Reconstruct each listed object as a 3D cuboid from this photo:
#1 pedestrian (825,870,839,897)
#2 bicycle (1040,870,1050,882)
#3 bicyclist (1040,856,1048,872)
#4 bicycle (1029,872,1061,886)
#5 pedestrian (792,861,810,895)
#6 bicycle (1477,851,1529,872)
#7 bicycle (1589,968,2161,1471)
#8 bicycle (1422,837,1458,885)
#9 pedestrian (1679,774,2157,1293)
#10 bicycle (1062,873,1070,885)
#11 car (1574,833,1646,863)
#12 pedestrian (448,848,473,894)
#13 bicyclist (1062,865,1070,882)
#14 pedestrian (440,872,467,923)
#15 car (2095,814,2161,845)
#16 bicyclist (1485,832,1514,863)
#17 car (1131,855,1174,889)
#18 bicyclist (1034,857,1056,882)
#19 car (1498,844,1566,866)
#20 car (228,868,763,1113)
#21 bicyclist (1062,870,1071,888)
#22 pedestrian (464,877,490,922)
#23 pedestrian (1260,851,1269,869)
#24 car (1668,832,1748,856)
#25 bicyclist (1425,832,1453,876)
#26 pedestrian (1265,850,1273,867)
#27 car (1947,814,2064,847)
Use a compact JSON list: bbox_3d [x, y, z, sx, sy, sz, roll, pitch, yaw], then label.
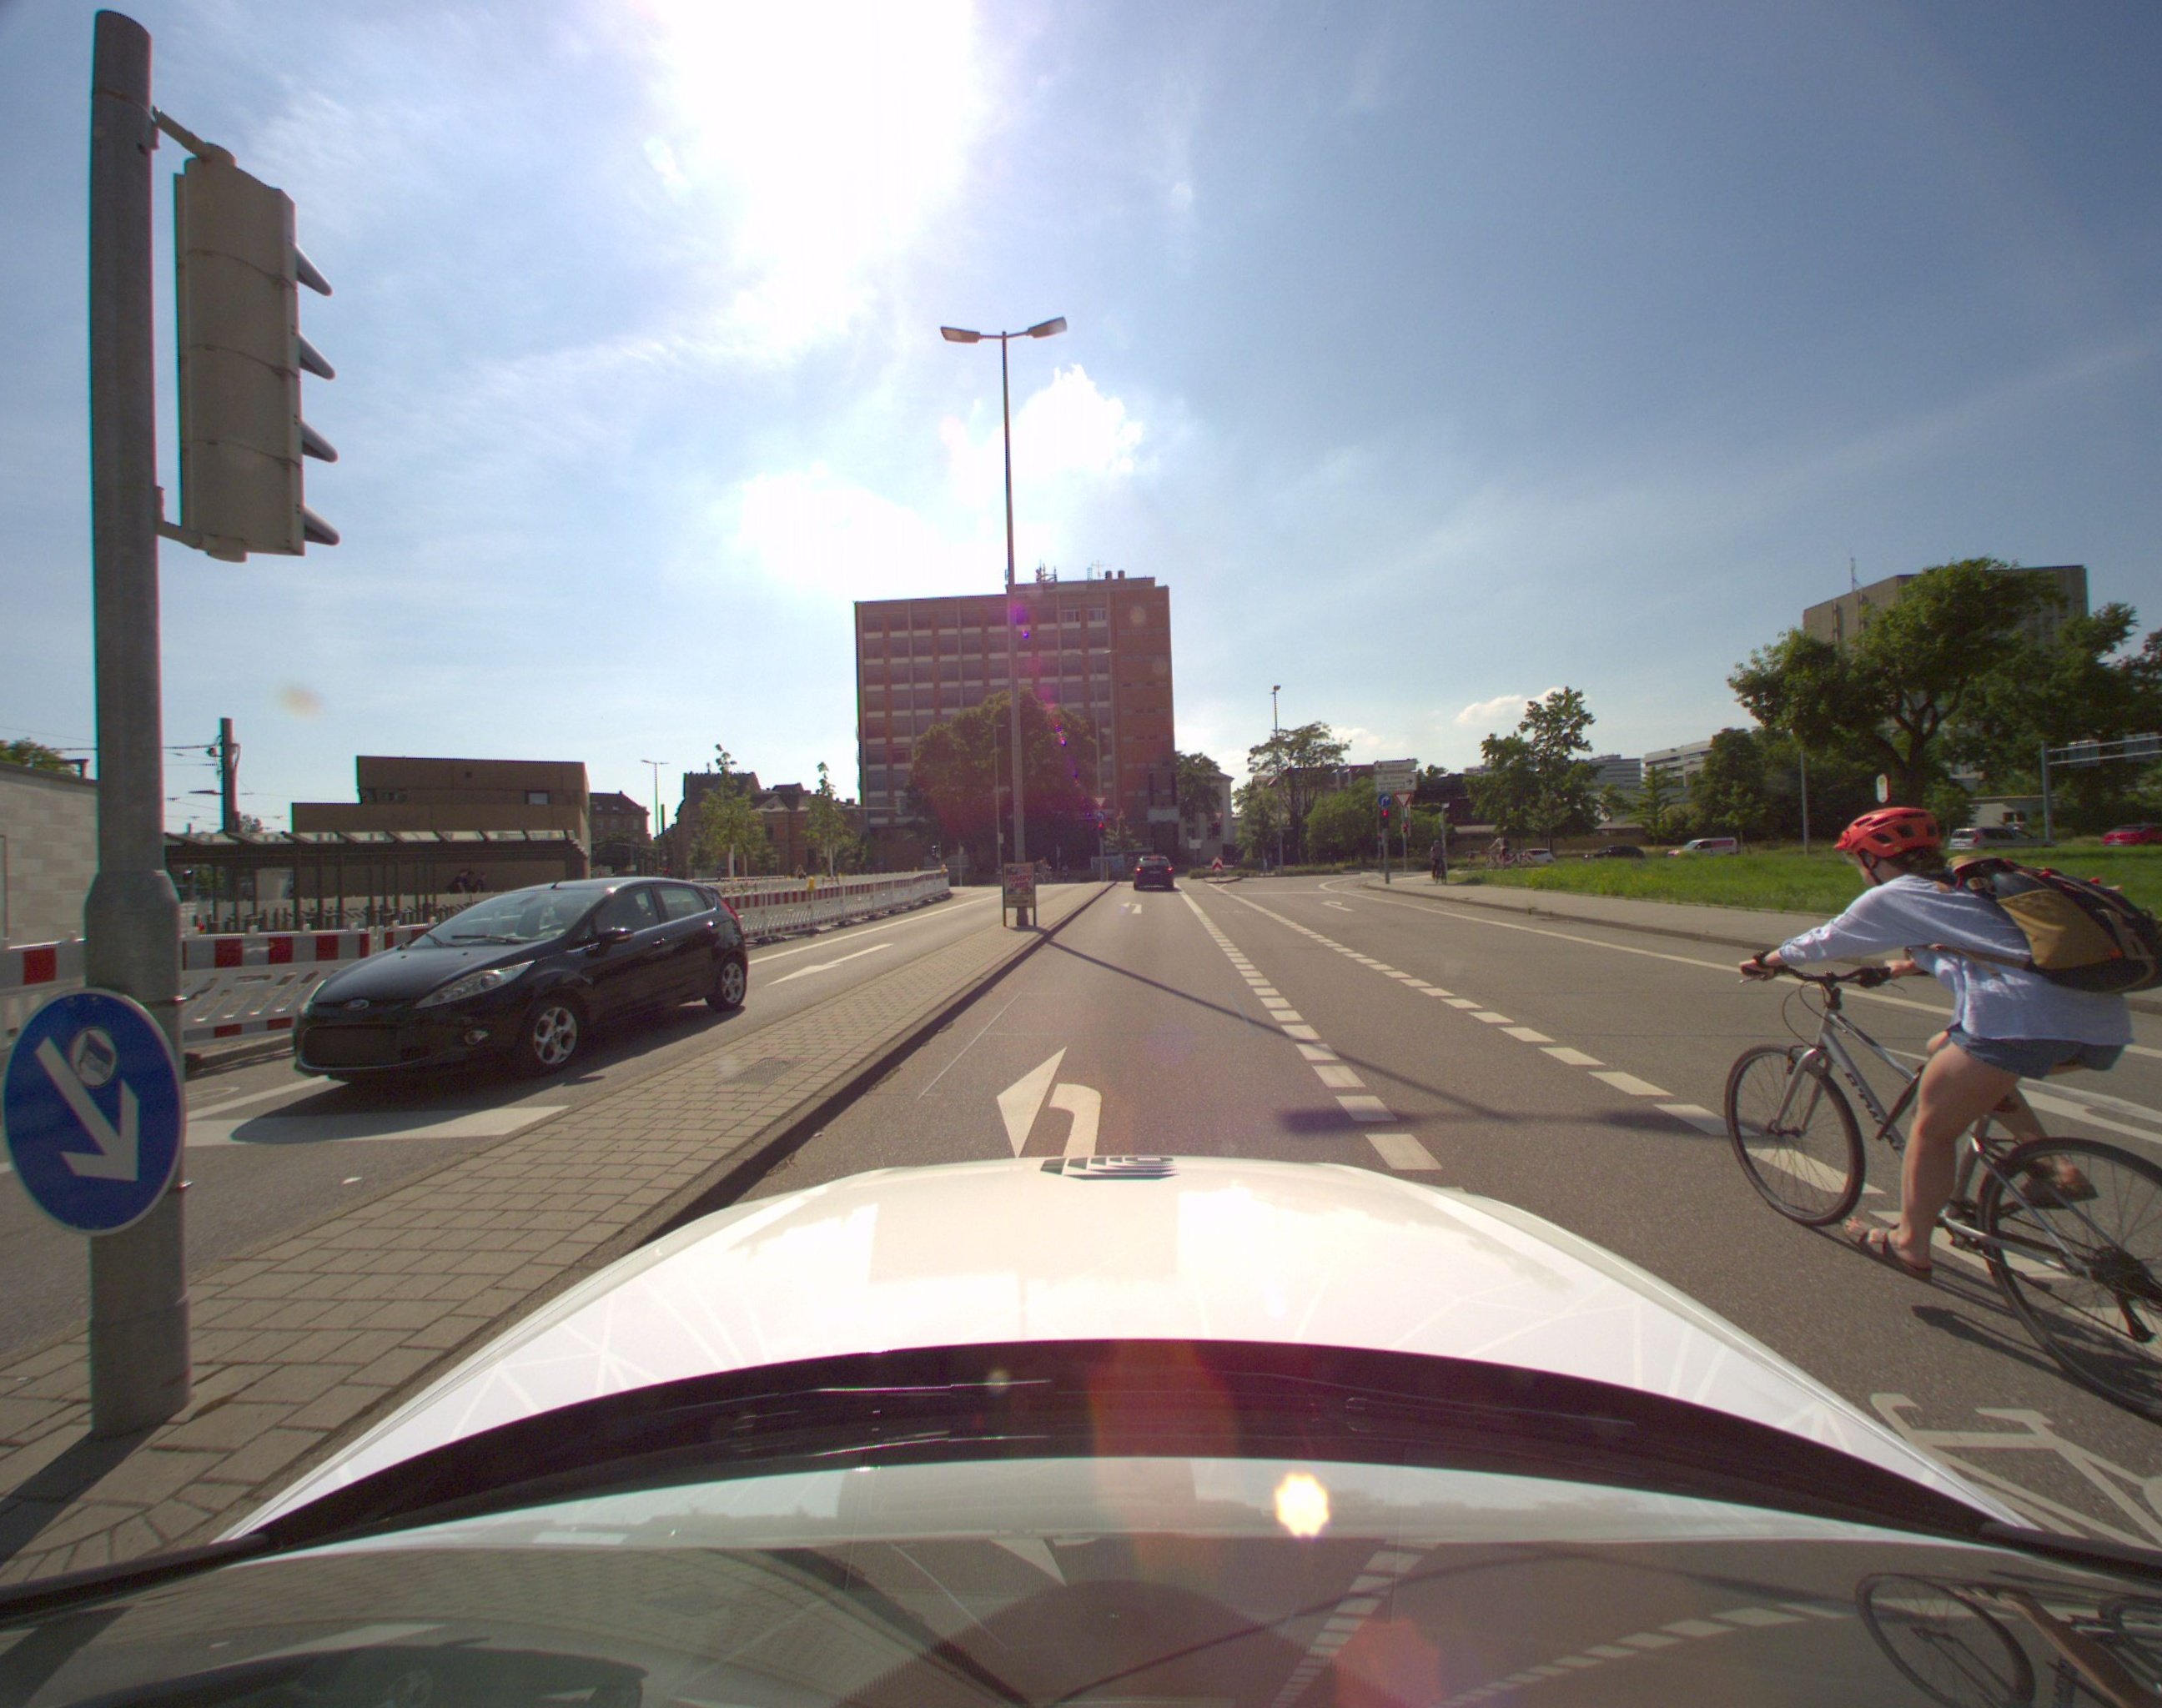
[{"bbox_3d":[-13.822,1.629,45.225,0.631,1.491,0.614,-2,-1,-12],"label":"pedestrian"},{"bbox_3d":[-3.311,2.038,75.452,0.701,0.977,2.032,-3,-1,3],"label":"bicycle"},{"bbox_3d":[-3.377,0.952,75.163,0.537,1.417,1.031,-3,-2,3],"label":"bicyclist"},{"bbox_3d":[-2.256,1.535,50.700,1.875,0.792,0.563,-2,1,17],"label":"bicycle"},{"bbox_3d":[-15.046,1.282,43.803,0.736,1.752,1.106,-2,-3,-11],"label":"pedestrian"},{"bbox_3d":[20.636,0.366,39.891,0.678,0.916,2.144,-2,-1,-38],"label":"bicycle"},{"bbox_3d":[2.772,1.017,2.968,0.594,0.931,2.028,-1,-1,1],"label":"bicycle"},{"bbox_3d":[14.068,0.270,31.968,0.675,1.765,1.813,-3,-1,5],"label":"bicycle"},{"bbox_3d":[2.765,0.514,2.837,0.581,1.466,1.013,-1,-1,0],"label":"pedestrian"},{"bbox_3d":[-1.303,2.230,72.622,0.616,0.961,1.968,-5,-1,0],"label":"bicycle"},{"bbox_3d":[39.625,-0.431,61.107,3.966,2.013,2.004,-3,-1,6],"label":"car"},{"bbox_3d":[-24.472,0.669,32.119,0.538,1.778,0.572,-3,-1,25],"label":"pedestrian"},{"bbox_3d":[-1.341,1.756,72.629,0.616,1.443,0.920,-5,-1,0],"label":"bicyclist"},{"bbox_3d":[-23.828,1.641,30.929,0.436,1.915,0.609,-3,-1,25],"label":"pedestrian"},{"bbox_3d":[55.002,-1.220,41.634,3.968,1.508,1.755,1,0,4],"label":"car"},{"bbox_3d":[20.510,-0.321,39.945,0.499,1.470,1.130,1,-2,-38],"label":"bicyclist"},{"bbox_3d":[3.150,0.763,35.954,1.771,1.443,3.823,-1,0,5],"label":"car"},{"bbox_3d":[-2.222,0.944,50.679,1.156,1.474,0.566,-3,-1,17],"label":"bicyclist"},{"bbox_3d":[33.939,0.097,61.387,3.969,1.464,2.002,-2,-2,4],"label":"car"},{"bbox_3d":[-4.574,0.929,7.201,1.658,1.451,3.823,-4,-1,5],"label":"car"},{"bbox_3d":[-1.303,2.230,72.622,0.616,1.582,1.014,-5,-1,0],"label":"bicyclist"},{"bbox_3d":[-23.713,1.780,31.974,0.533,1.708,0.572,-3,-1,25],"label":"pedestrian"},{"bbox_3d":[20.555,0.677,90.999,0.787,1.874,0.642,-4,0,18],"label":"pedestrian"},{"bbox_3d":[46.067,-0.712,59.862,4.290,1.569,1.912,-2,0,4],"label":"car"},{"bbox_3d":[14.062,0.007,31.982,0.675,1.655,0.920,-3,-1,5],"label":"bicyclist"},{"bbox_3d":[20.810,0.467,89.944,0.634,1.874,0.797,-4,0,4],"label":"pedestrian"},{"bbox_3d":[48.528,-1.213,42.813,3.968,1.508,1.755,-3,0,4],"label":"car"}]
